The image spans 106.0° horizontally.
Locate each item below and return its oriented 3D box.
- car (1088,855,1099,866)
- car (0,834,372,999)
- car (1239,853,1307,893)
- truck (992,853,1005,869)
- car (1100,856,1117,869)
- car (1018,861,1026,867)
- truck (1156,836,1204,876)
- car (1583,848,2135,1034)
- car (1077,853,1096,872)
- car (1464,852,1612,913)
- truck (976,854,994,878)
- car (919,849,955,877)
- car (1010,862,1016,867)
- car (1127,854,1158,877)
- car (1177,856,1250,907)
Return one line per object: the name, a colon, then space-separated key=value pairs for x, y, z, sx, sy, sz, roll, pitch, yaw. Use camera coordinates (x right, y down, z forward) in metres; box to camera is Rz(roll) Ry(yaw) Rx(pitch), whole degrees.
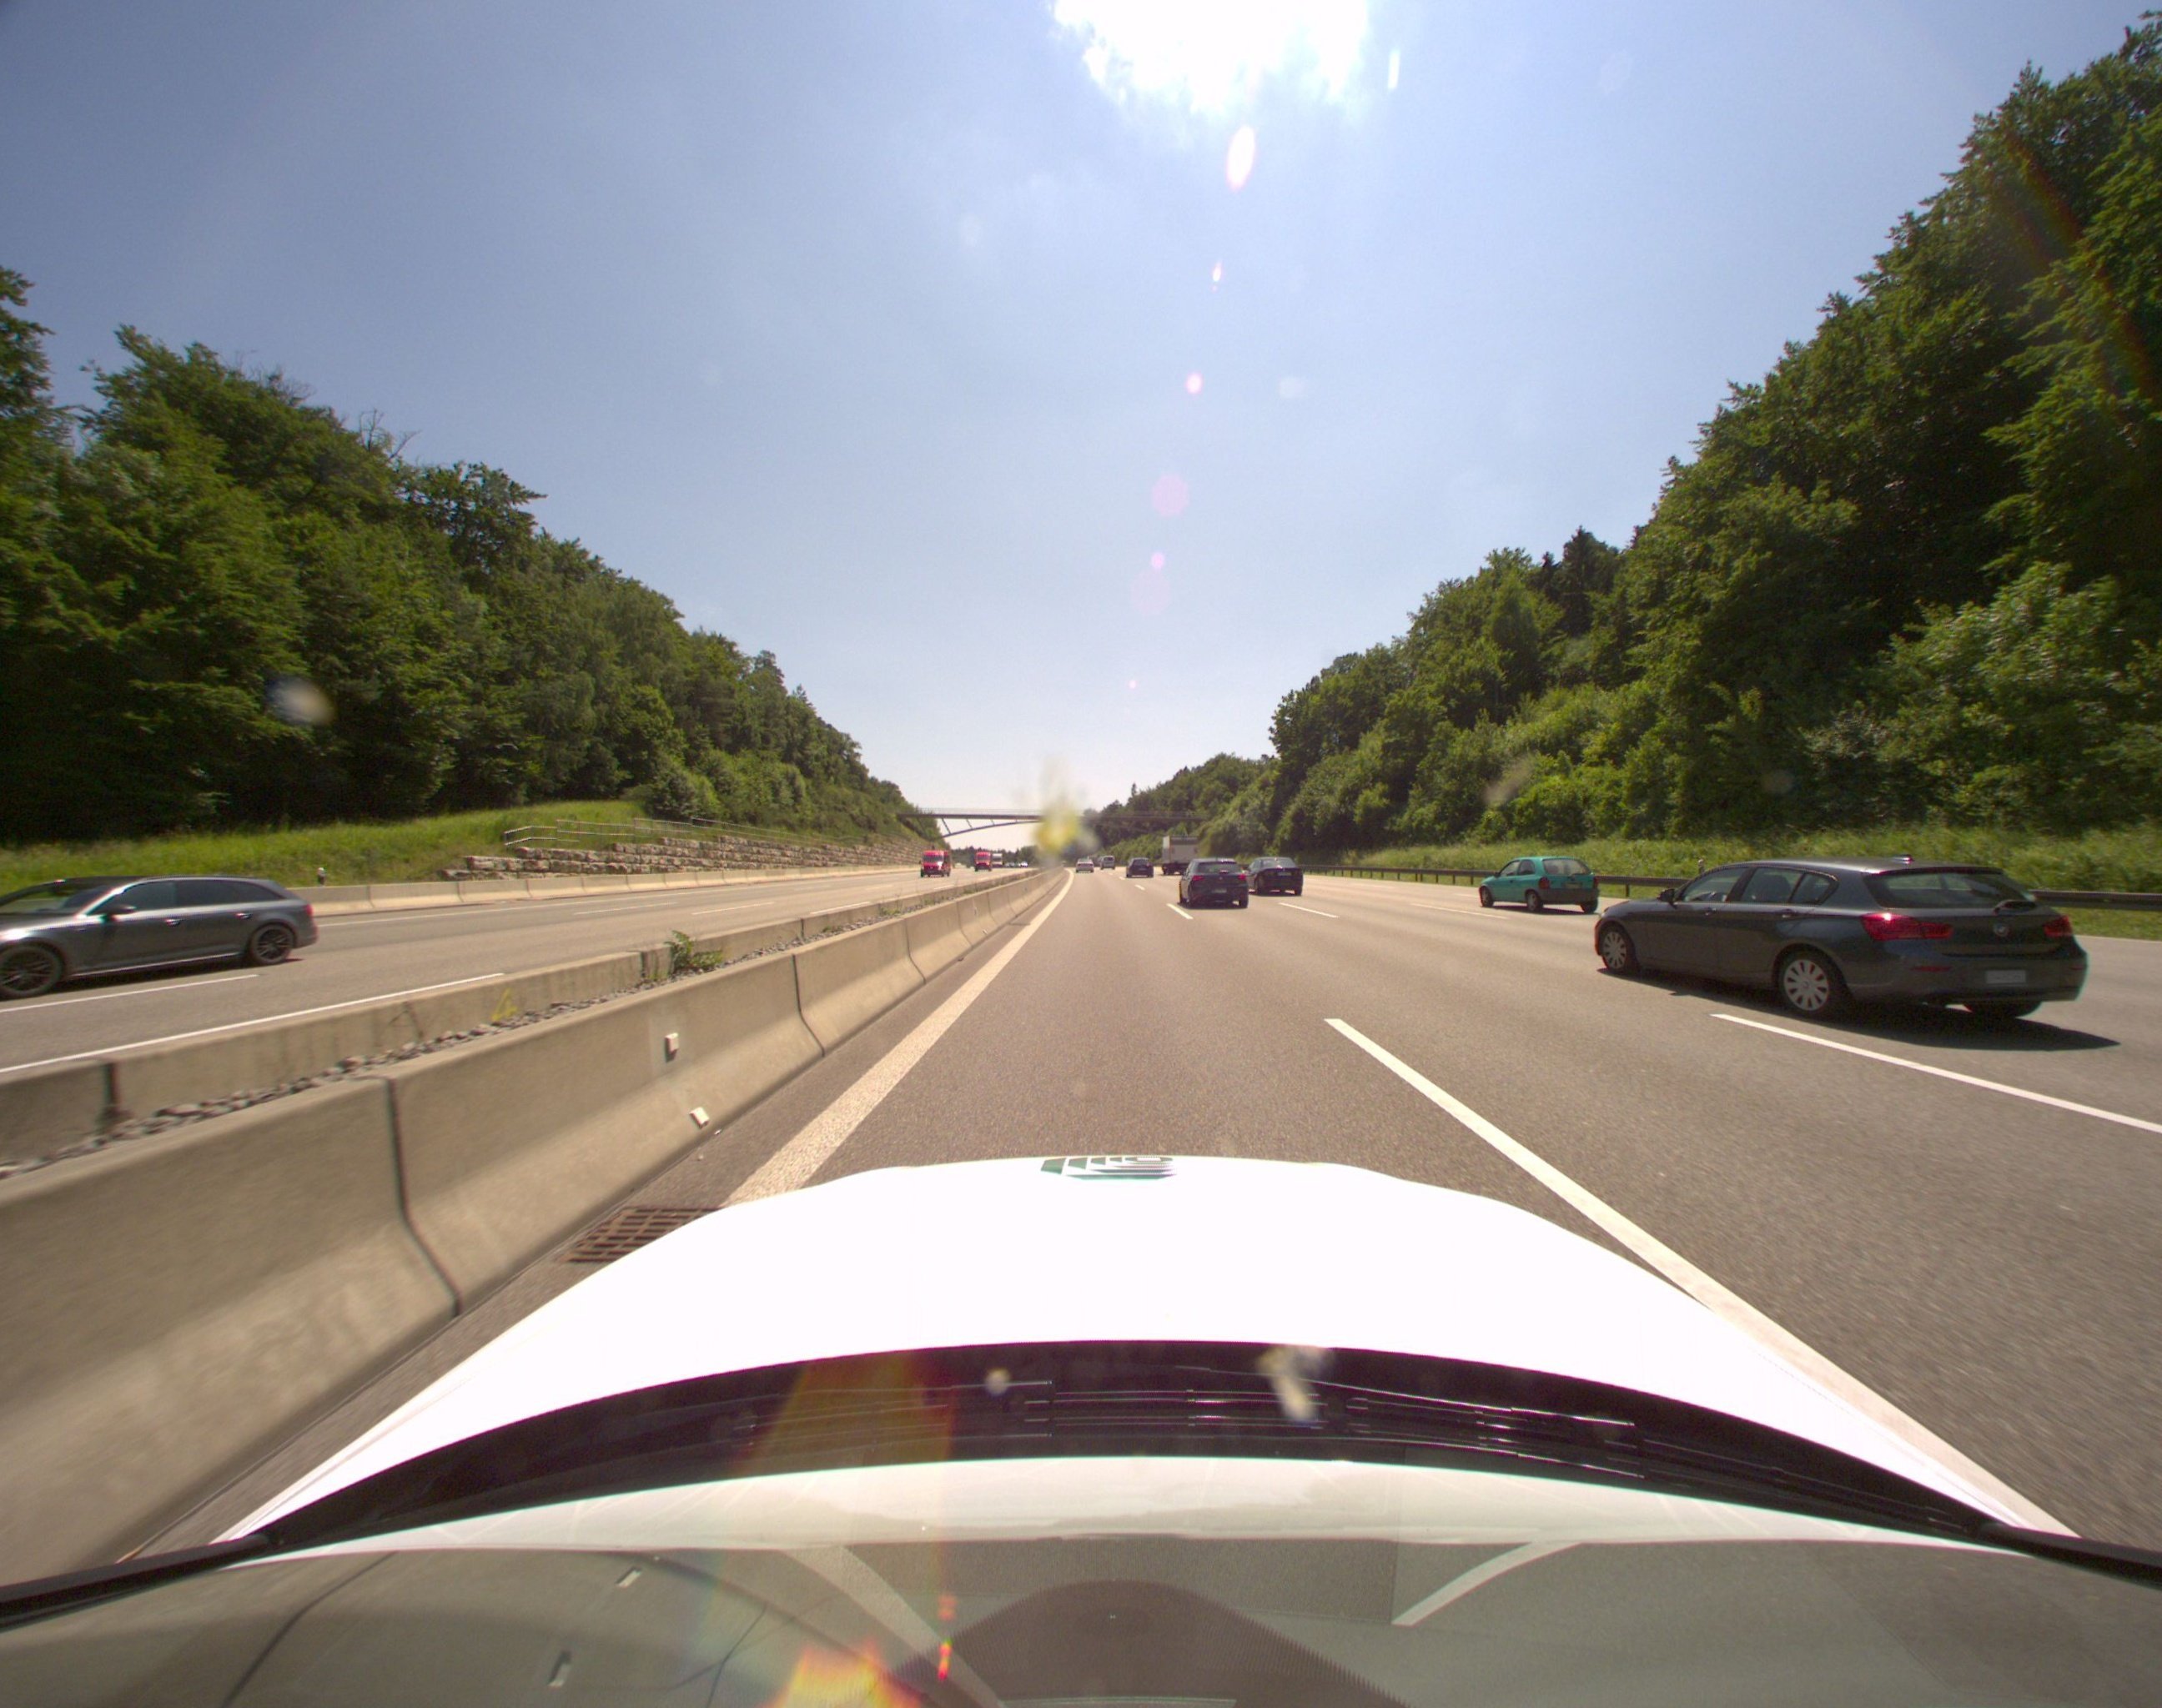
car: x=2.809 y=1.561 z=183.834 sx=2.258 sy=2.371 sz=4.701 roll=-1 pitch=-1 yaw=0
car: x=-13.219 y=0.752 z=11.320 sx=1.986 sy=1.872 sz=5.252 roll=0 pitch=-1 yaw=1
car: x=7.443 y=0.694 z=32.006 sx=1.659 sy=1.408 sz=4.905 roll=-1 pitch=0 yaw=2
truck: x=-17.165 y=1.438 z=170.037 sx=2.271 sy=3.143 sz=6.912 roll=1 pitch=0 yaw=-3
car: x=3.714 y=1.172 z=110.049 sx=2.097 sy=1.744 sz=4.685 roll=-1 pitch=0 yaw=-1
car: x=-16.050 y=2.724 z=220.657 sx=1.896 sy=1.496 sz=4.800 roll=-1 pitch=0 yaw=-3
truck: x=8.233 y=0.141 z=68.649 sx=2.977 sy=3.167 sz=7.570 roll=-1 pitch=0 yaw=-1
car: x=7.213 y=0.678 z=8.290 sx=1.696 sy=1.396 sz=4.154 roll=-1 pitch=0 yaw=1
car: x=0.530 y=0.922 z=86.451 sx=2.006 sy=1.846 sz=3.997 roll=0 pitch=-4 yaw=0
car: x=12.055 y=0.696 z=21.831 sx=1.539 sy=1.444 sz=4.340 roll=-1 pitch=0 yaw=0
truck: x=-12.599 y=1.547 z=107.142 sx=2.106 sy=2.976 sz=7.004 roll=0 pitch=1 yaw=-4
car: x=-12.447 y=0.743 z=70.639 sx=1.986 sy=2.336 sz=5.544 roll=-1 pitch=0 yaw=1
car: x=-19.807 y=3.051 z=237.852 sx=1.649 sy=1.550 sz=3.996 roll=1 pitch=1 yaw=-3
car: x=4.517 y=0.806 z=60.416 sx=1.987 sy=1.634 sz=4.760 roll=-1 pitch=0 yaw=0
car: x=3.982 y=0.803 z=24.970 sx=1.701 sy=1.433 sz=4.001 roll=0 pitch=0 yaw=2
